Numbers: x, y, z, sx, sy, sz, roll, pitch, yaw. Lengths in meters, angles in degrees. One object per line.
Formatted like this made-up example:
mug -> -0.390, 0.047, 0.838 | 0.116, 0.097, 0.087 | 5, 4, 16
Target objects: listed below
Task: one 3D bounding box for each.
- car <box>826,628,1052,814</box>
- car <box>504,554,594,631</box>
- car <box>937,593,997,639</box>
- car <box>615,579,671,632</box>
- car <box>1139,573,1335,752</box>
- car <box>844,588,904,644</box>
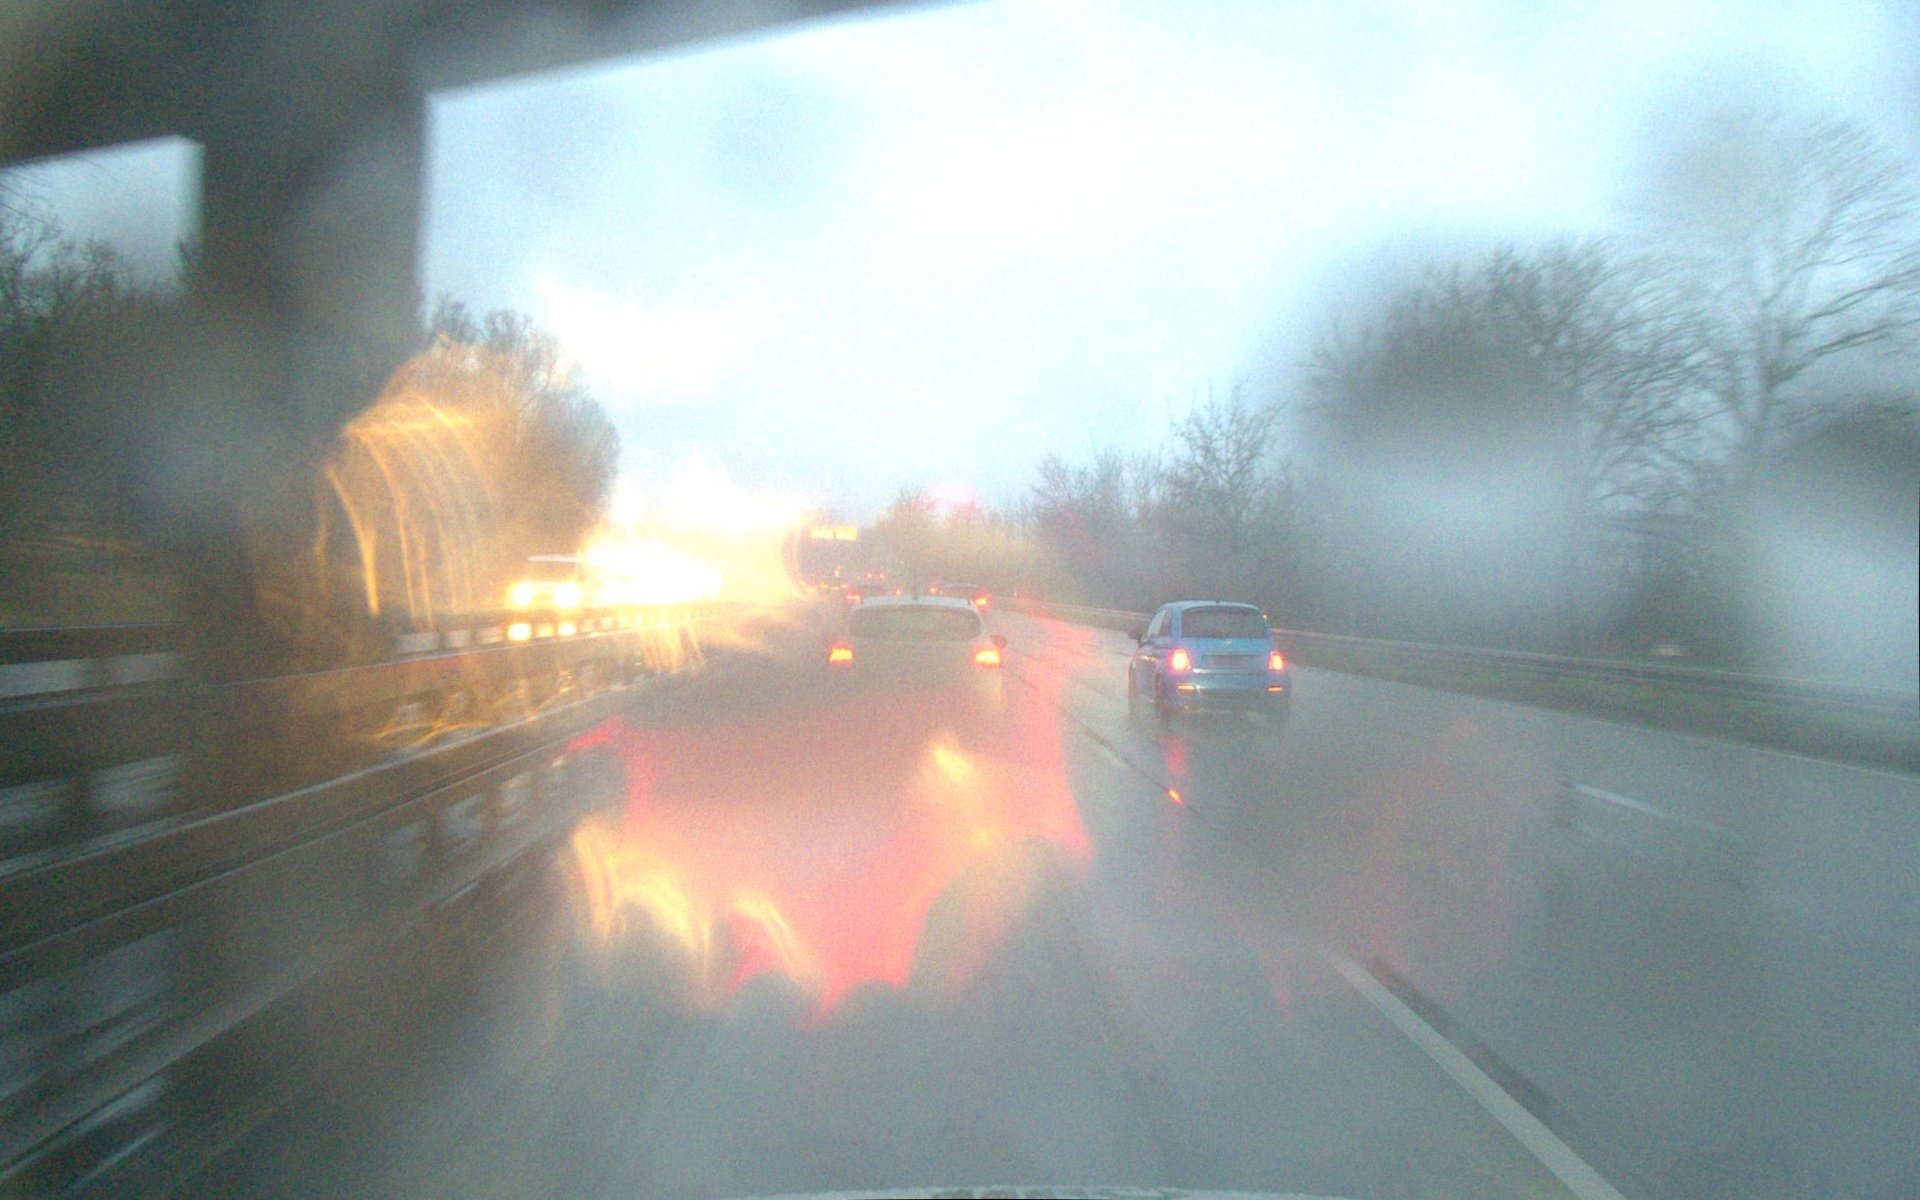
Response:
car -> -0.180, 1.133, 16.931 | 1.983, 1.602, 3.999 | 2, -1, 0
car -> -14.395, -0.195, 58.271 | 2.103, 2.511, 5.137 | 2, -1, -4
car -> 0.269, 0.655, 66.704 | 1.896, 1.573, 3.767 | -3, -3, -7
car -> -16.037, 0.311, 83.993 | 2.103, 2.511, 5.136 | 2, -1, -4
car -> 3.518, 0.784, 21.662 | 1.893, 2.055, 3.773 | 2, -1, 0
car -> -3.425, 0.651, 65.319 | 1.956, 2.049, 3.993 | 2, -1, -8
